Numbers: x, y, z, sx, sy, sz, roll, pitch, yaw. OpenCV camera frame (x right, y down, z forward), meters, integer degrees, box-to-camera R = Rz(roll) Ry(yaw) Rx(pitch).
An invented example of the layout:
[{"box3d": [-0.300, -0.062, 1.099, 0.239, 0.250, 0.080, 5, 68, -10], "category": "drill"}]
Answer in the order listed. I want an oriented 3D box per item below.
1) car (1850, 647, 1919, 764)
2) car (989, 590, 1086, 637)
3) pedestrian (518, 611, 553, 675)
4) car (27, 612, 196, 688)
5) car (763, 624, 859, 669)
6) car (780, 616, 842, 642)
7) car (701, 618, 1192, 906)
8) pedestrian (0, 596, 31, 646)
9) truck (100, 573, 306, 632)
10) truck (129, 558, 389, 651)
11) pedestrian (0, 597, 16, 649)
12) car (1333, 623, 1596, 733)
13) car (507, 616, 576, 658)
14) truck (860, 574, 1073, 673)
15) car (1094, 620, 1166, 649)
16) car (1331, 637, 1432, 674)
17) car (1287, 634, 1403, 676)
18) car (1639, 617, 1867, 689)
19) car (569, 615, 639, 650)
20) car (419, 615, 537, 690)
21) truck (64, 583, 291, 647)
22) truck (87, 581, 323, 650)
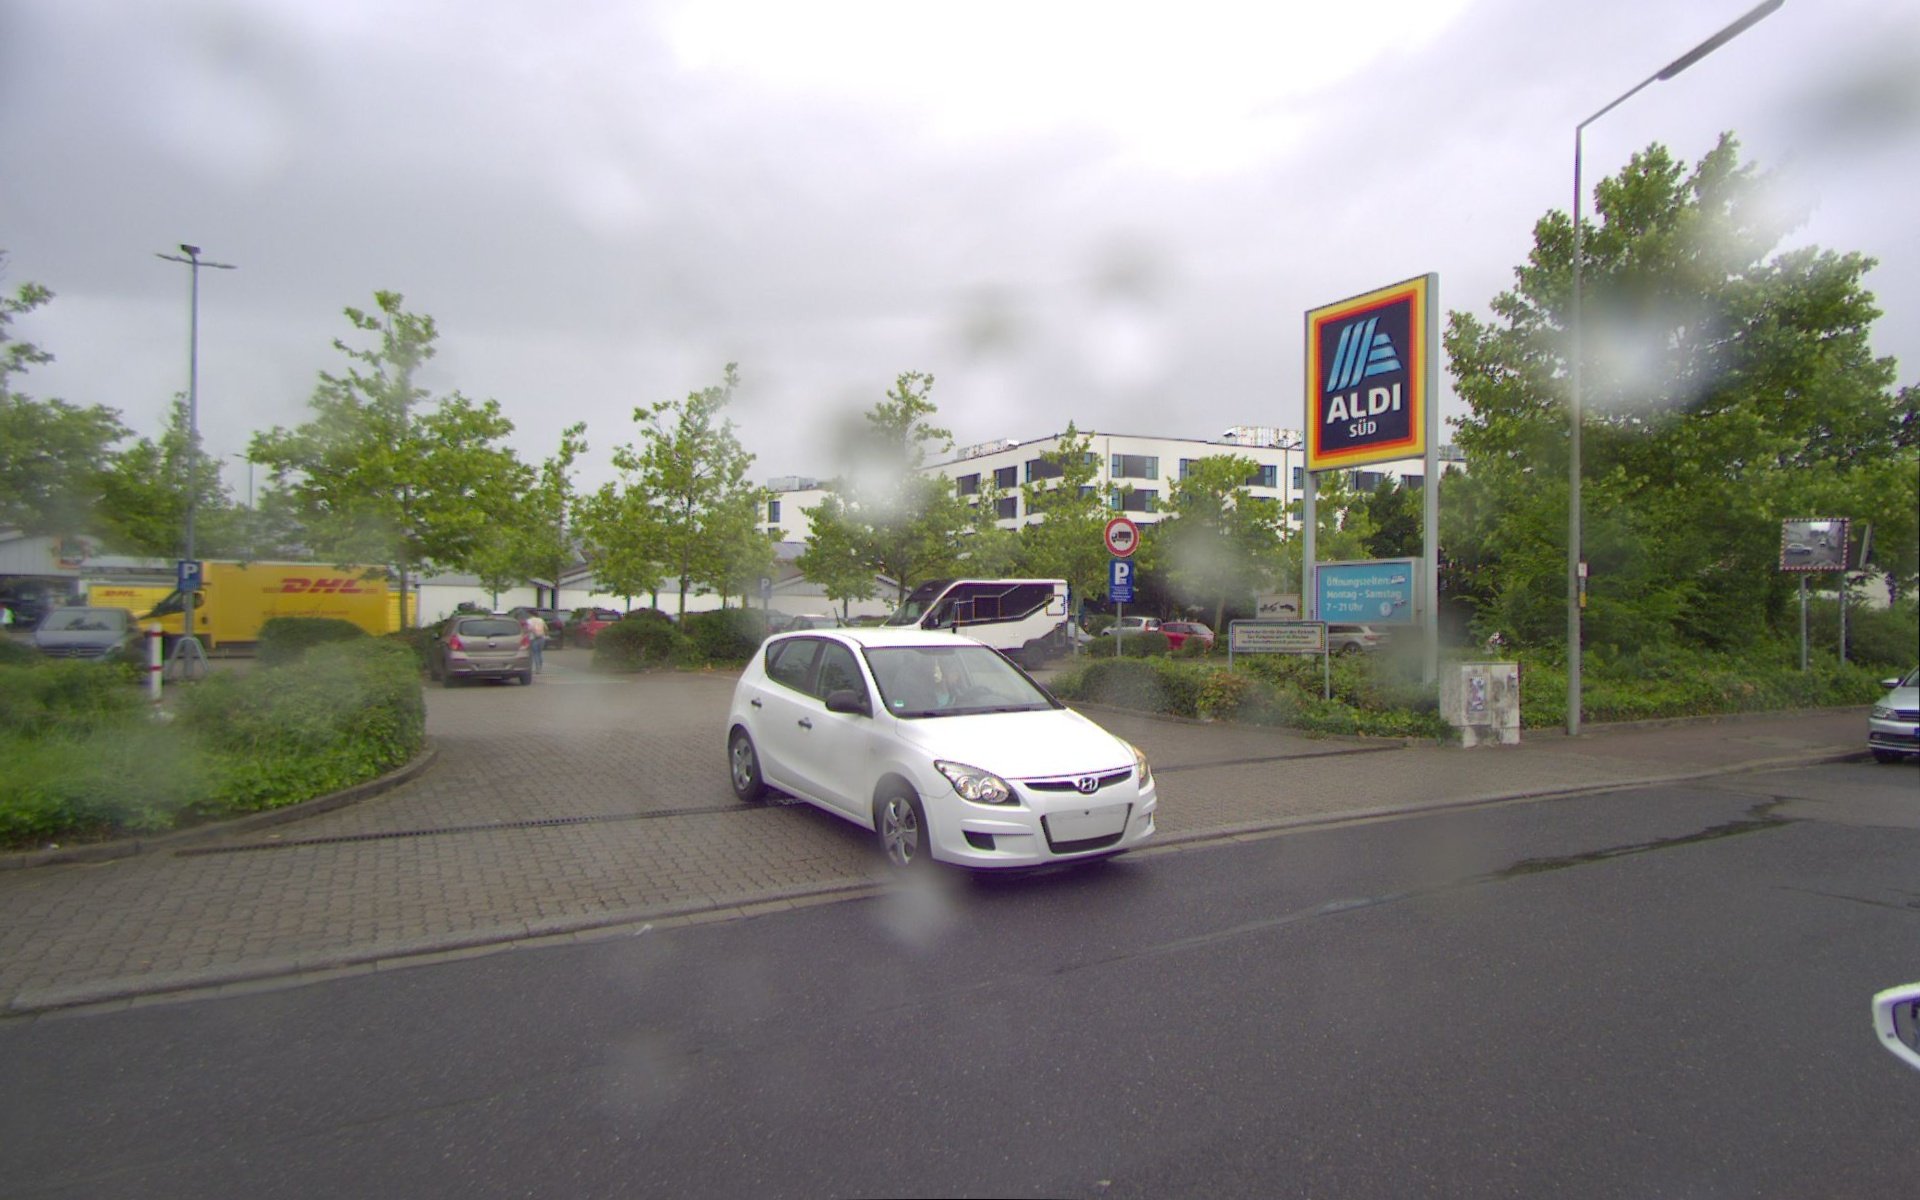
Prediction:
[{"box3d": [13.536, 1.299, 13.024, 4.549, 1.385, 1.697, 1, -3, -31], "category": "car"}, {"box3d": [4.020, 0.721, 51.803, 4.761, 2.327, 1.982, 1, -1, -33], "category": "car"}, {"box3d": [-11.245, 1.131, 26.601, 0.760, 1.656, 0.772, 1, -1, -30], "category": "pedestrian"}, {"box3d": [-17.837, 0.991, 21.340, 1.976, 1.439, 3.969, 1, -1, -29], "category": "car"}, {"box3d": [-4.882, 1.456, 32.582, 1.737, 1.320, 3.968, 1, -1, -30], "category": "car"}, {"box3d": [-8.020, 1.531, 53.946, 1.977, 1.363, 3.968, 1, -1, -30], "category": "car"}, {"box3d": [-0.398, 0.924, 7.644, 1.695, 1.479, 4.162, 1, 0, -35], "category": "car"}, {"box3d": [-38.694, 0.861, 40.984, 0.902, 1.988, 1.296, 1, -1, -33], "category": "pedestrian"}, {"box3d": [-28.501, 0.160, 38.136, 6.074, 2.087, 1.980, 1, -1, -36], "category": "truck"}, {"box3d": [-21.183, 0.200, 30.798, 6.324, 2.636, 1.983, 1, -1, -32], "category": "truck"}, {"box3d": [-36.976, 0.878, 38.480, 0.902, 1.988, 1.296, 1, -1, -33], "category": "pedestrian"}, {"box3d": [8.255, 1.196, 16.719, 1.693, 1.479, 3.551, 1, 1, -31], "category": "car"}, {"box3d": [-16.396, 1.394, 39.256, 1.977, 1.542, 3.968, 1, -1, -30], "category": "car"}, {"box3d": [0.290, 0.717, 29.833, 6.330, 2.692, 1.981, 1, -1, -34], "category": "truck"}, {"box3d": [9.647, 1.938, 57.328, 1.977, 1.549, 3.968, 1, -1, -30], "category": "car"}, {"box3d": [19.531, 2.552, 46.721, 1.977, 1.549, 3.968, 1, -1, -30], "category": "car"}, {"box3d": [15.256, 2.138, 40.013, 1.977, 1.519, 3.968, 1, -1, -30], "category": "car"}, {"box3d": [19.071, 1.206, 24.335, 1.889, 1.561, 3.966, 1, -1, -31], "category": "car"}, {"box3d": [-14.501, 1.288, 40.755, 1.977, 1.363, 3.968, 1, -1, -30], "category": "car"}, {"box3d": [-10.710, 1.094, 22.179, 1.695, 1.479, 4.163, 1, -2, -35], "category": "car"}, {"box3d": [-27.068, 0.560, 35.097, 6.074, 2.087, 1.980, 1, -1, -36], "category": "truck"}, {"box3d": [-24.759, 0.540, 33.301, 6.074, 2.122, 1.980, 1, -1, -36], "category": "truck"}]
